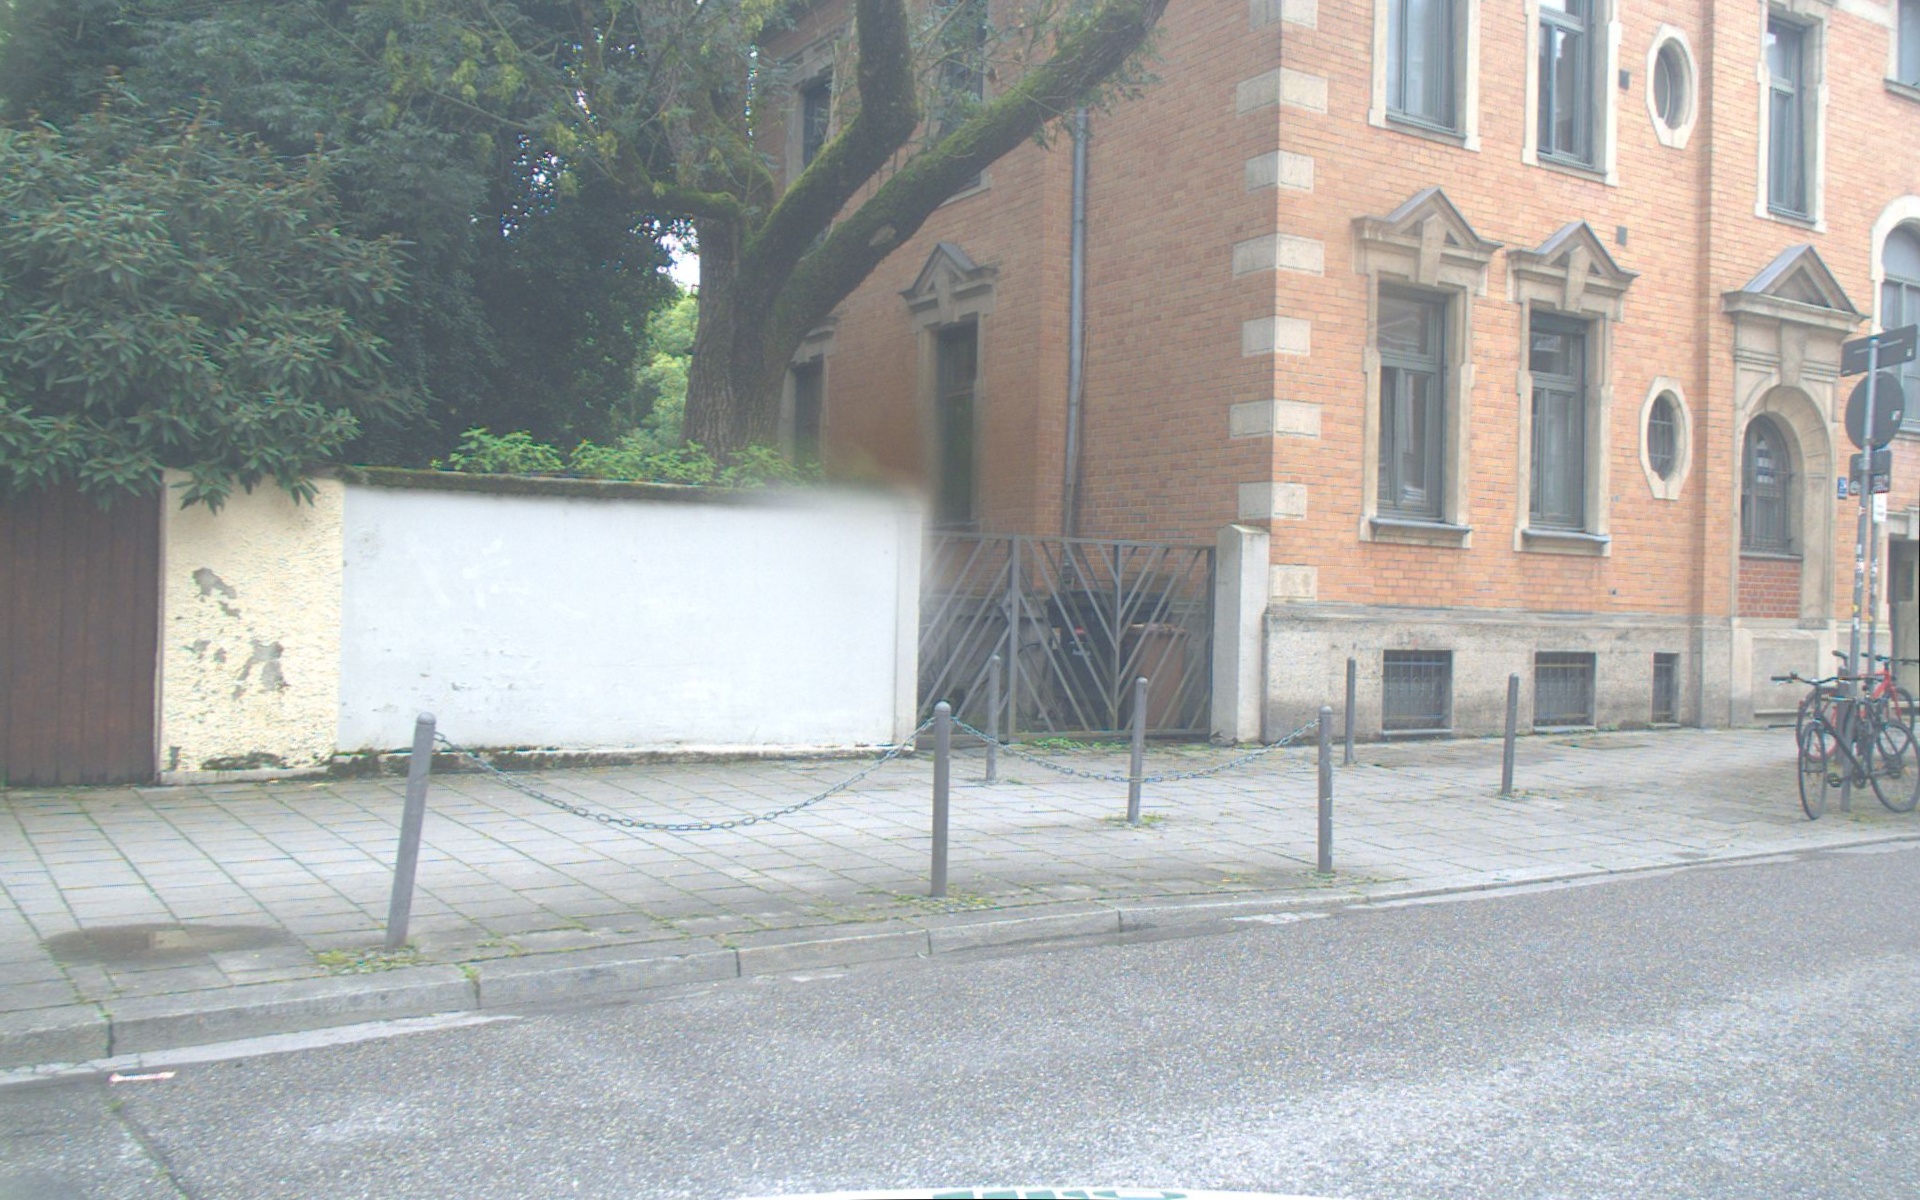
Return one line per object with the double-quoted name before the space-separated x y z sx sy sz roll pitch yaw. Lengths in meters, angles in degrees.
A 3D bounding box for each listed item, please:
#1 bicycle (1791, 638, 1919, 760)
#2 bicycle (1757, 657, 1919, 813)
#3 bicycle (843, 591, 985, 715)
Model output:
"bicycle" 8.679 0.917 15.538 1.867 1.072 0.576 2 0 -29
"bicycle" 6.751 0.980 12.291 1.737 1.072 0.576 2 -1 -29
"bicycle" -0.520 0.531 17.578 0.529 1.240 2.060 2 -1 -31
